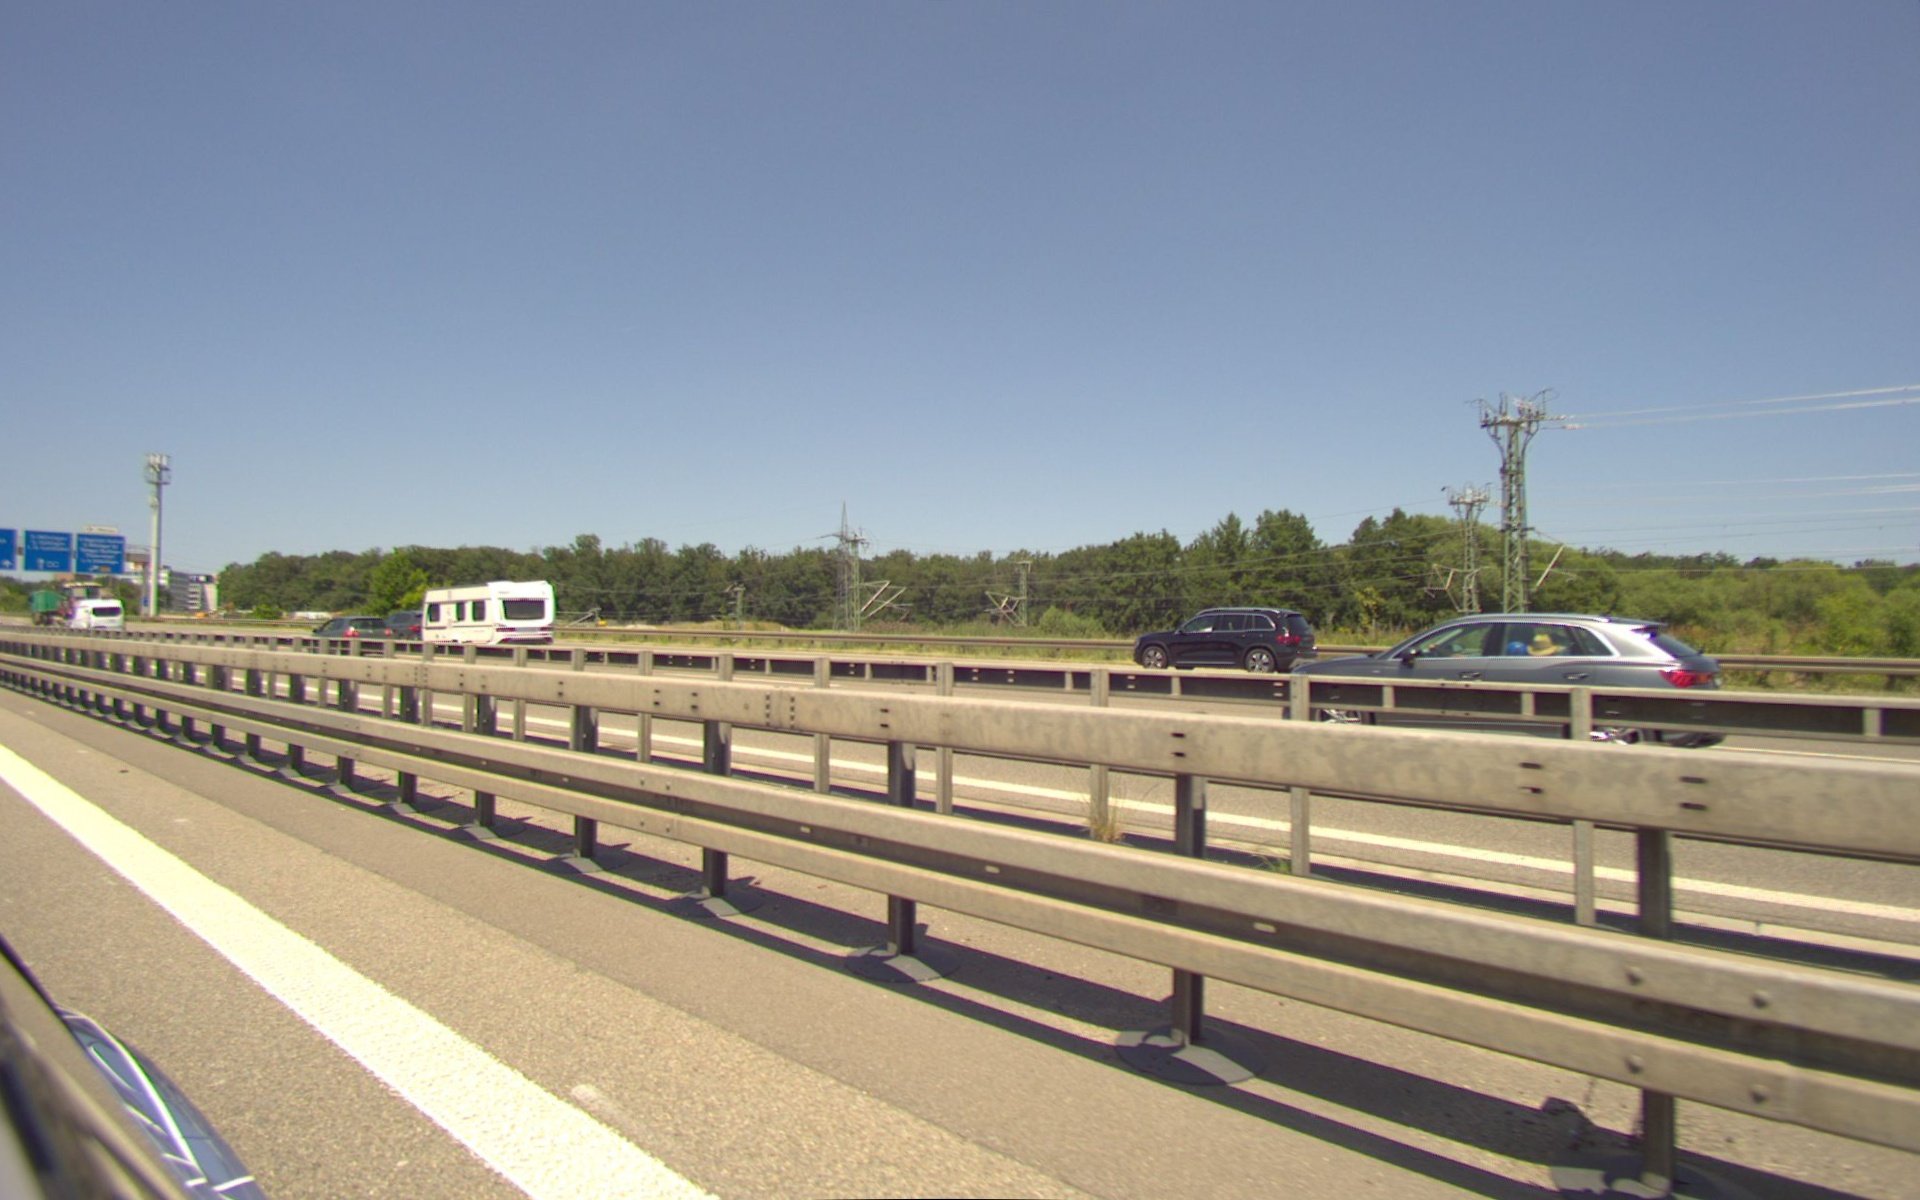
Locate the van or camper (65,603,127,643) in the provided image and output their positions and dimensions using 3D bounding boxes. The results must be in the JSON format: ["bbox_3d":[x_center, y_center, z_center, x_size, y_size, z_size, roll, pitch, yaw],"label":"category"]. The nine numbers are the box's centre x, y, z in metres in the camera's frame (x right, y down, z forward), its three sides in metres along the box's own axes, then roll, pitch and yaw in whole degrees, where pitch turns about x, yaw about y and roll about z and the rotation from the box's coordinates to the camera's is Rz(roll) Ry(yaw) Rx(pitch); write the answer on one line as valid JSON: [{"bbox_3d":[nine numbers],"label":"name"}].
[{"bbox_3d":[-52.296,1.367,61.235,5.072,2.358,1.974,-1,0,39],"label":"van or camper"}]

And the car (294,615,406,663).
[{"bbox_3d":[-21.736,1.330,35.967,4.886,1.520,1.973,0,0,41],"label":"car"}]

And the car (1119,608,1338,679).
[{"bbox_3d":[6.575,1.024,25.205,4.933,1.609,1.972,-1,-1,42],"label":"car"}]

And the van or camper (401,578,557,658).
[{"bbox_3d":[-17.743,0.658,37.062,7.600,2.677,2.313,-1,-1,41],"label":"van or camper"}]

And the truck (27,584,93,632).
[{"bbox_3d":[-78.820,0.713,88.556,8.579,3.953,3.382,-1,-1,42],"label":"truck"}]

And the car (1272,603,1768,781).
[{"bbox_3d":[6.054,0.858,11.266,4.547,1.586,1.973,-1,-1,40],"label":"car"}]

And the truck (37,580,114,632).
[{"bbox_3d":[-72.783,0.561,83.119,12.238,4.013,3.350,-1,-1,42],"label":"truck"}]

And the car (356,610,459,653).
[{"bbox_3d":[-22.526,1.250,41.184,4.990,1.671,2.044,-1,-1,41],"label":"car"}]
